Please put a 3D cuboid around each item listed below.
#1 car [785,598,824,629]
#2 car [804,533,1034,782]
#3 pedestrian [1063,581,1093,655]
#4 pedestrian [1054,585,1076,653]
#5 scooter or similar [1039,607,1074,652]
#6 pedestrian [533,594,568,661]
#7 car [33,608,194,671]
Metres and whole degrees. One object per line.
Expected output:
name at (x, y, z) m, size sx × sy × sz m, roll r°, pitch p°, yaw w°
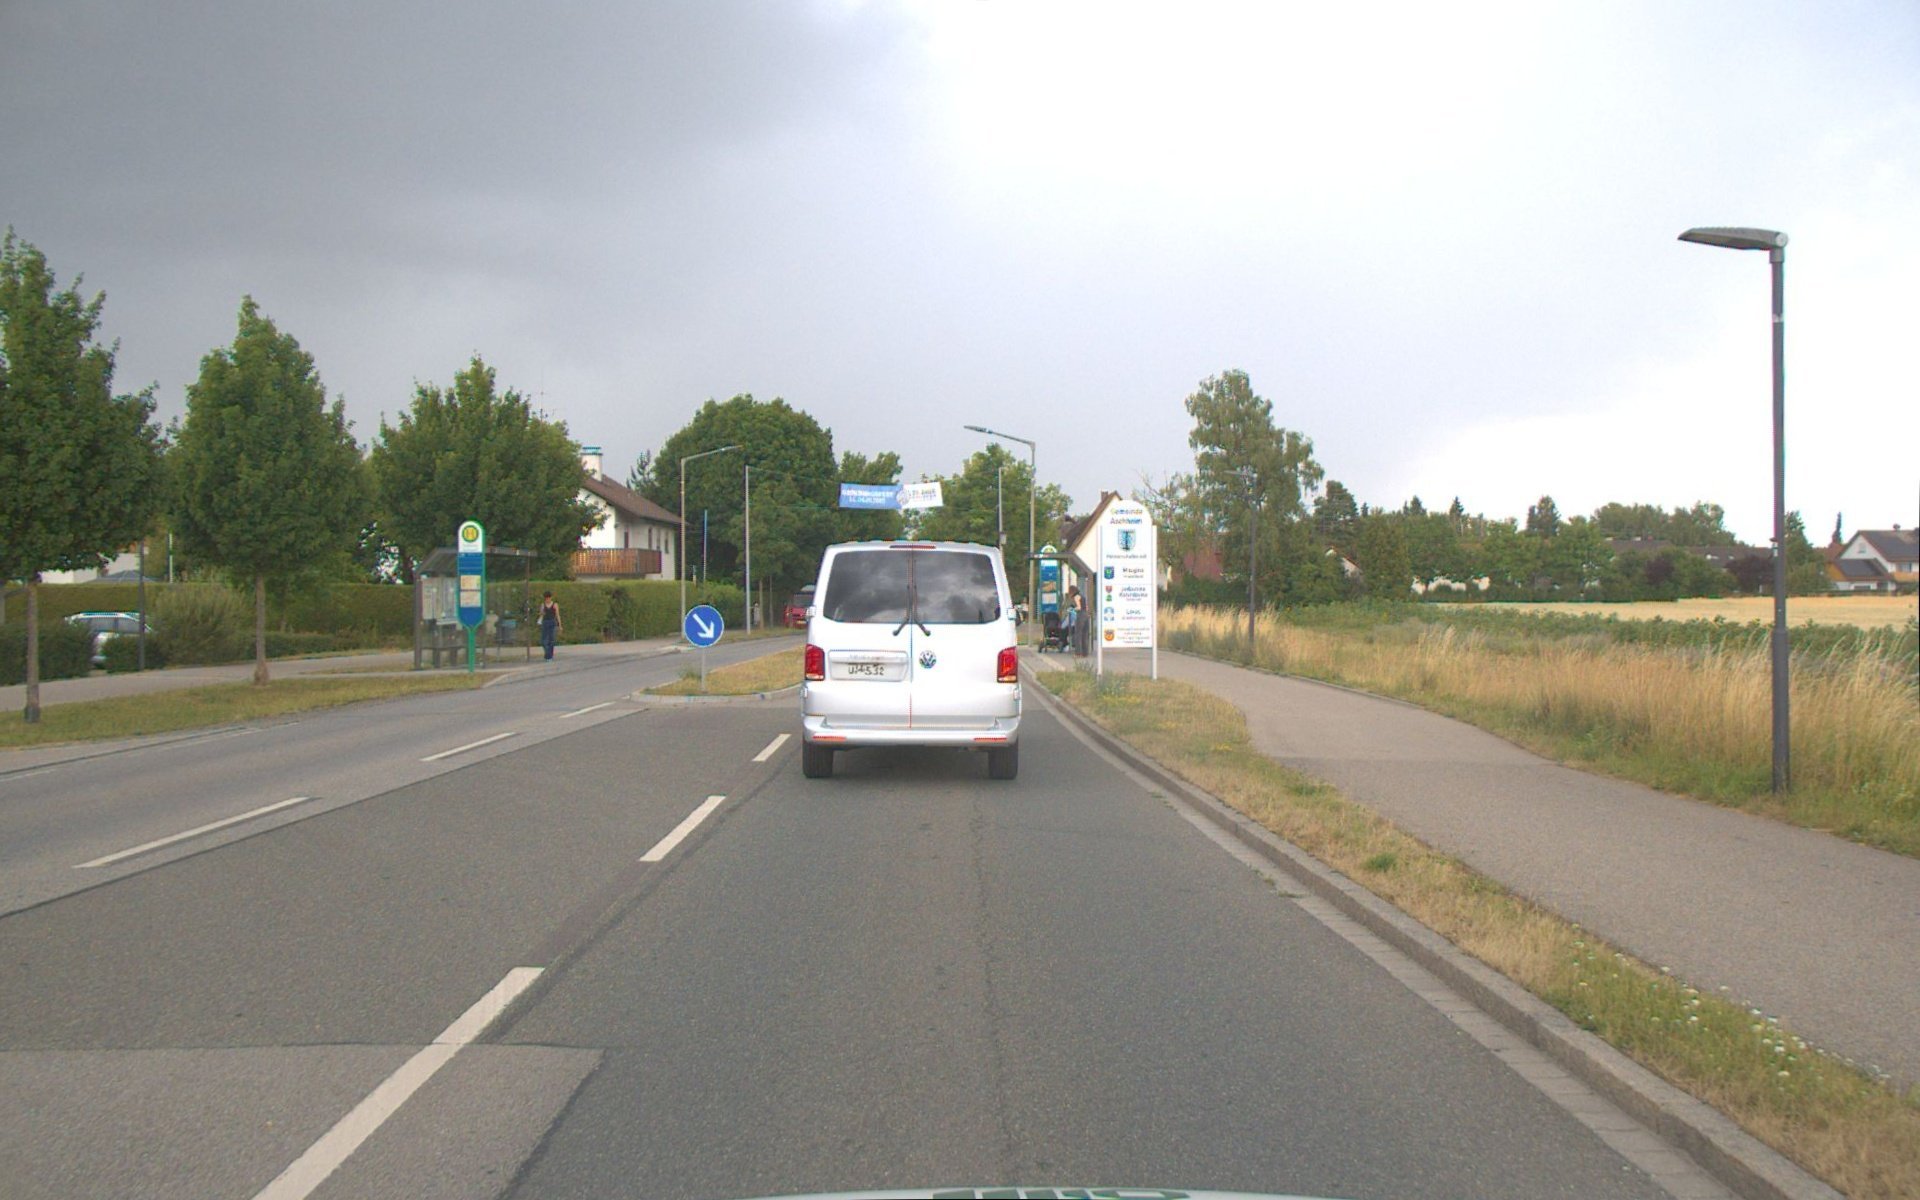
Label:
car at (-7.944, 0.676, 84.675) m, size 1.620 × 1.454 × 3.601 m, roll -2°, pitch 0°, yaw -1°
car at (-0.392, 0.437, 14.952) m, size 1.789 × 1.947 × 3.998 m, roll 0°, pitch 0°, yaw -2°
pedestrian at (2.871, 0.435, 40.154) m, size 0.626 × 1.762 × 0.487 m, roll -2°, pitch 0°, yaw 10°
pedestrian at (2.745, 0.485, 43.309) m, size 0.475 × 1.762 × 0.642 m, roll -2°, pitch 0°, yaw -1°
scooter or similar at (2.578, 0.778, 44.216) m, size 0.831 × 1.123 × 1.094 m, roll -2°, pitch 0°, yaw 0°
pedestrian at (-9.682, 0.645, 39.145) m, size 0.611 × 1.551 × 0.679 m, roll -2°, pitch 0°, yaw -1°
car at (-23.330, 1.072, 45.694) m, size 3.520 × 1.556 × 1.658 m, roll -2°, pitch 0°, yaw -4°
